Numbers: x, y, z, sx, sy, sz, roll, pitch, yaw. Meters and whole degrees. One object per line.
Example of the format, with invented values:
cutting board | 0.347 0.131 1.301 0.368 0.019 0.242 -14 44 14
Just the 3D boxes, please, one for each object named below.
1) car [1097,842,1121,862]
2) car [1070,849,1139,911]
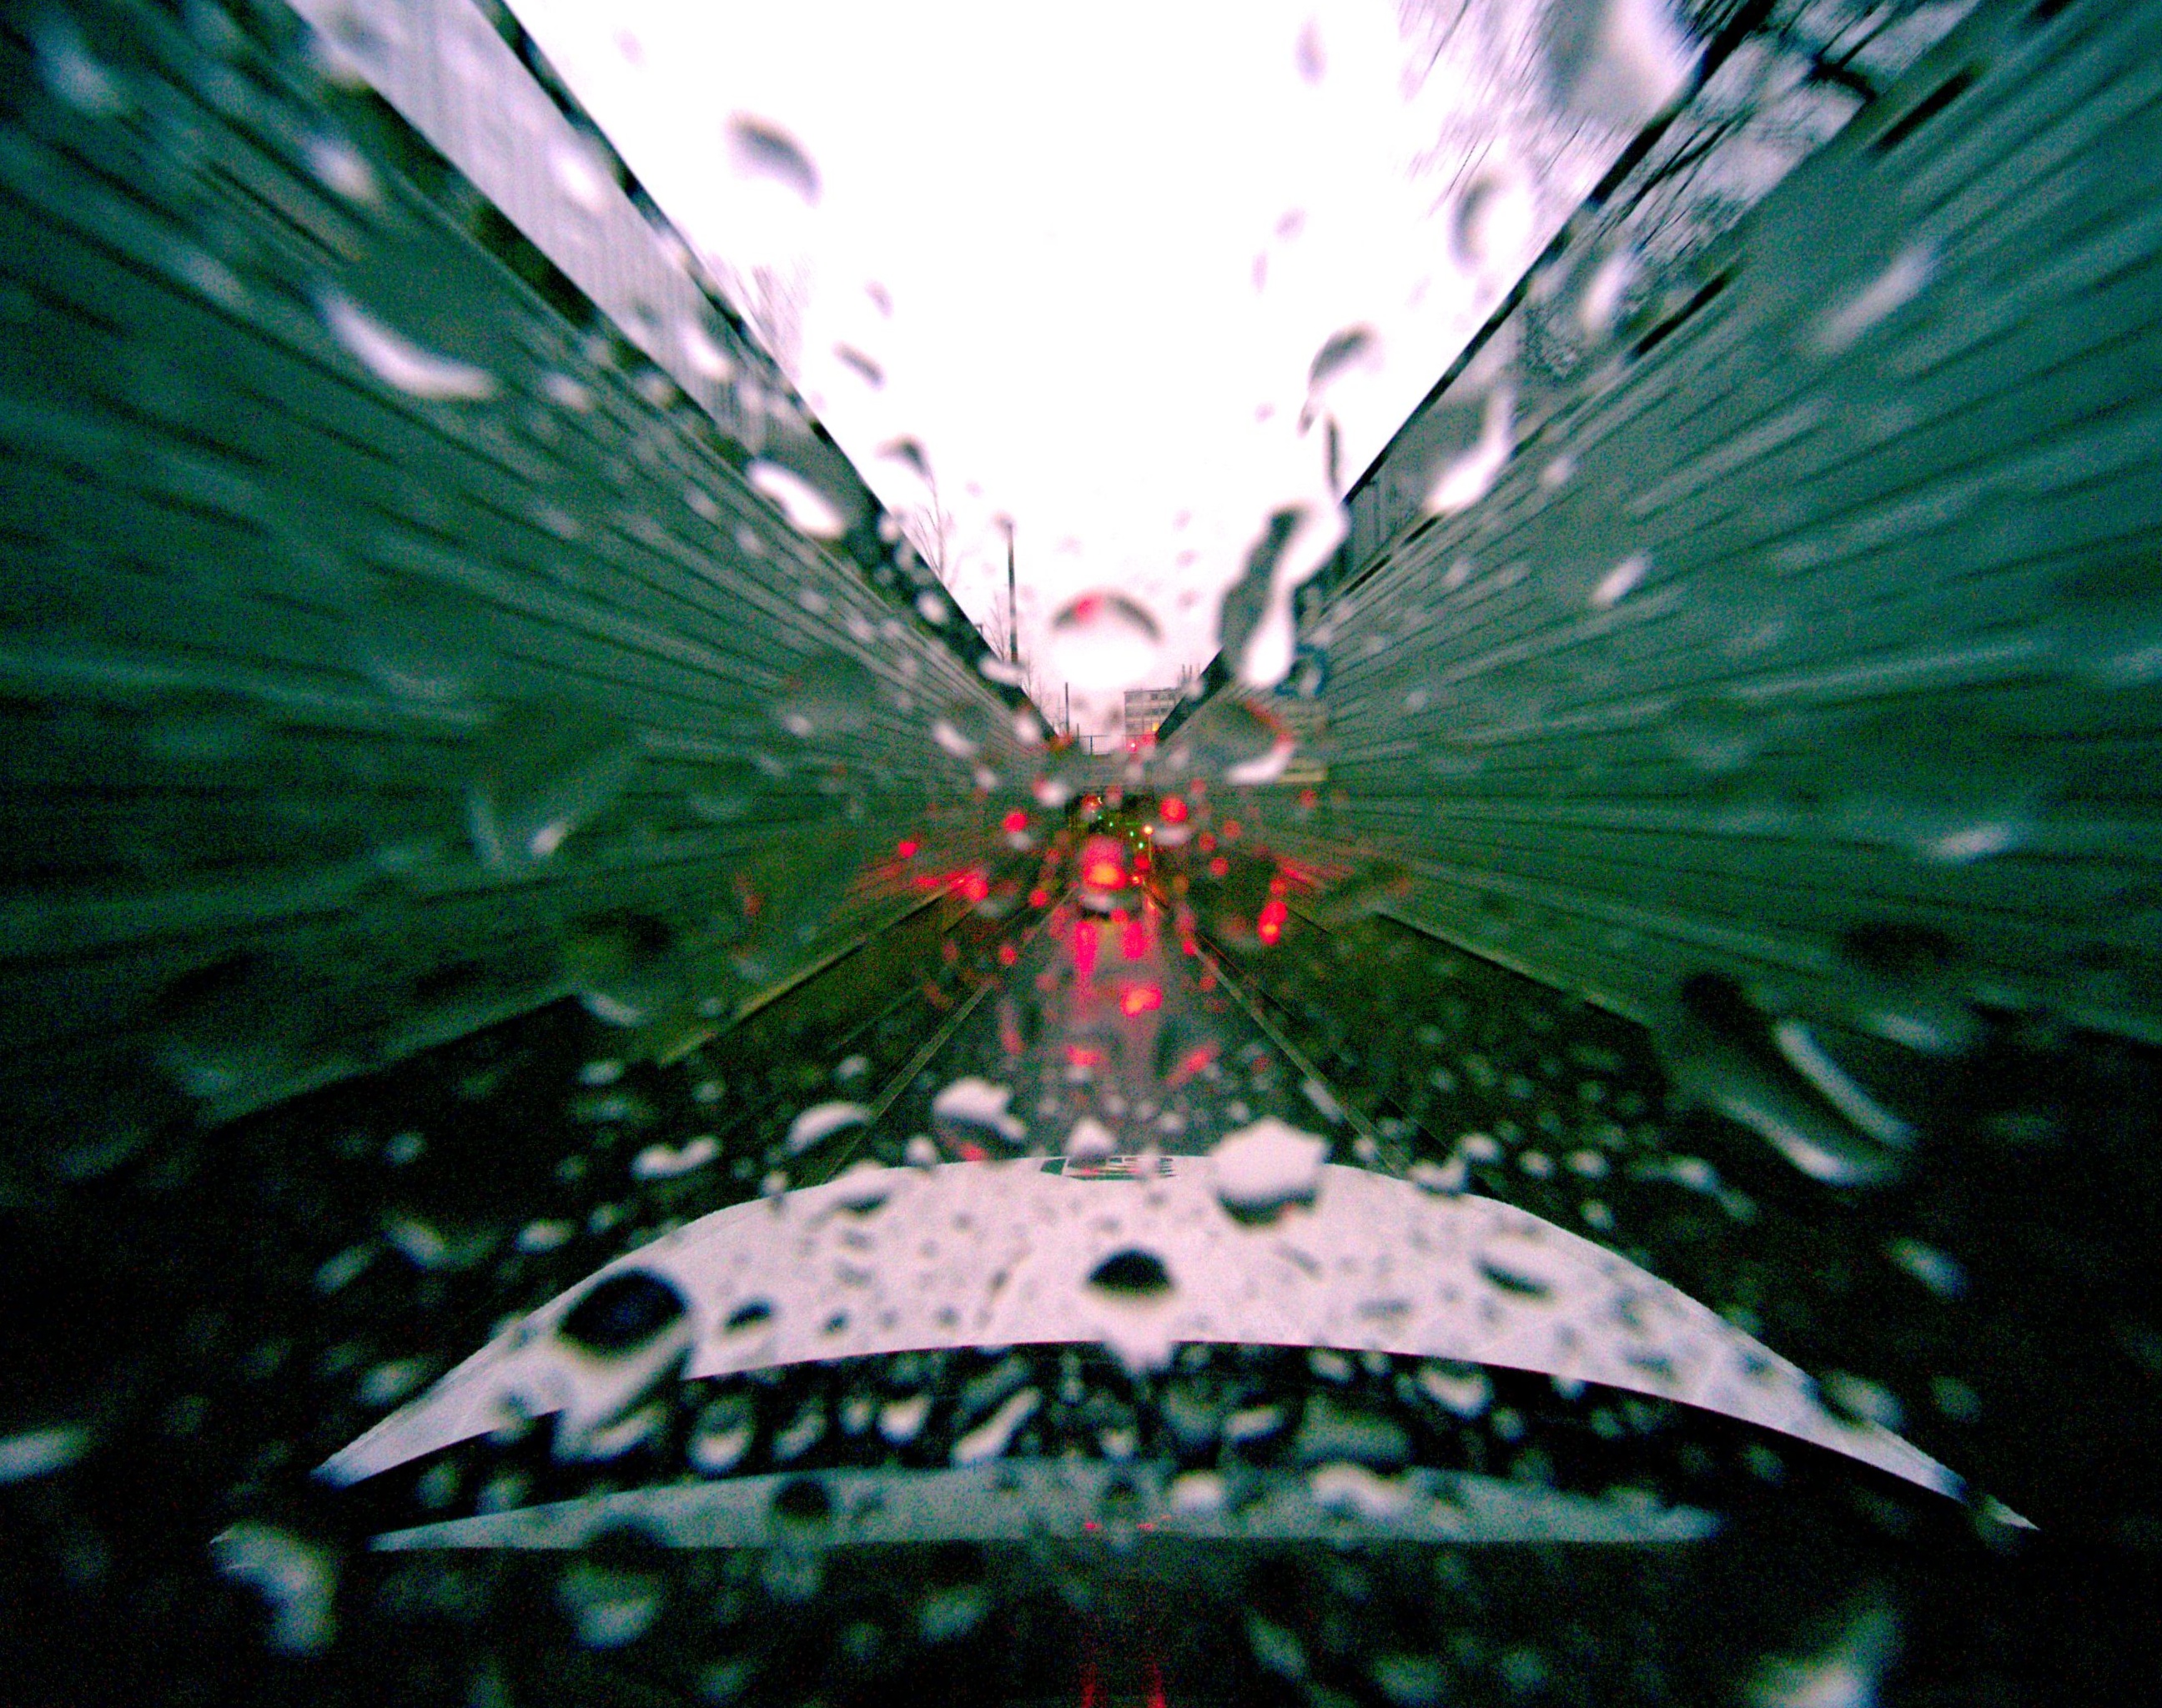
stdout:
car | 2.340 -0.189 68.297 1.913 1.485 4.002 -1 4 0
car | 0.696 0.635 22.424 1.715 1.479 4.004 0 1 3
